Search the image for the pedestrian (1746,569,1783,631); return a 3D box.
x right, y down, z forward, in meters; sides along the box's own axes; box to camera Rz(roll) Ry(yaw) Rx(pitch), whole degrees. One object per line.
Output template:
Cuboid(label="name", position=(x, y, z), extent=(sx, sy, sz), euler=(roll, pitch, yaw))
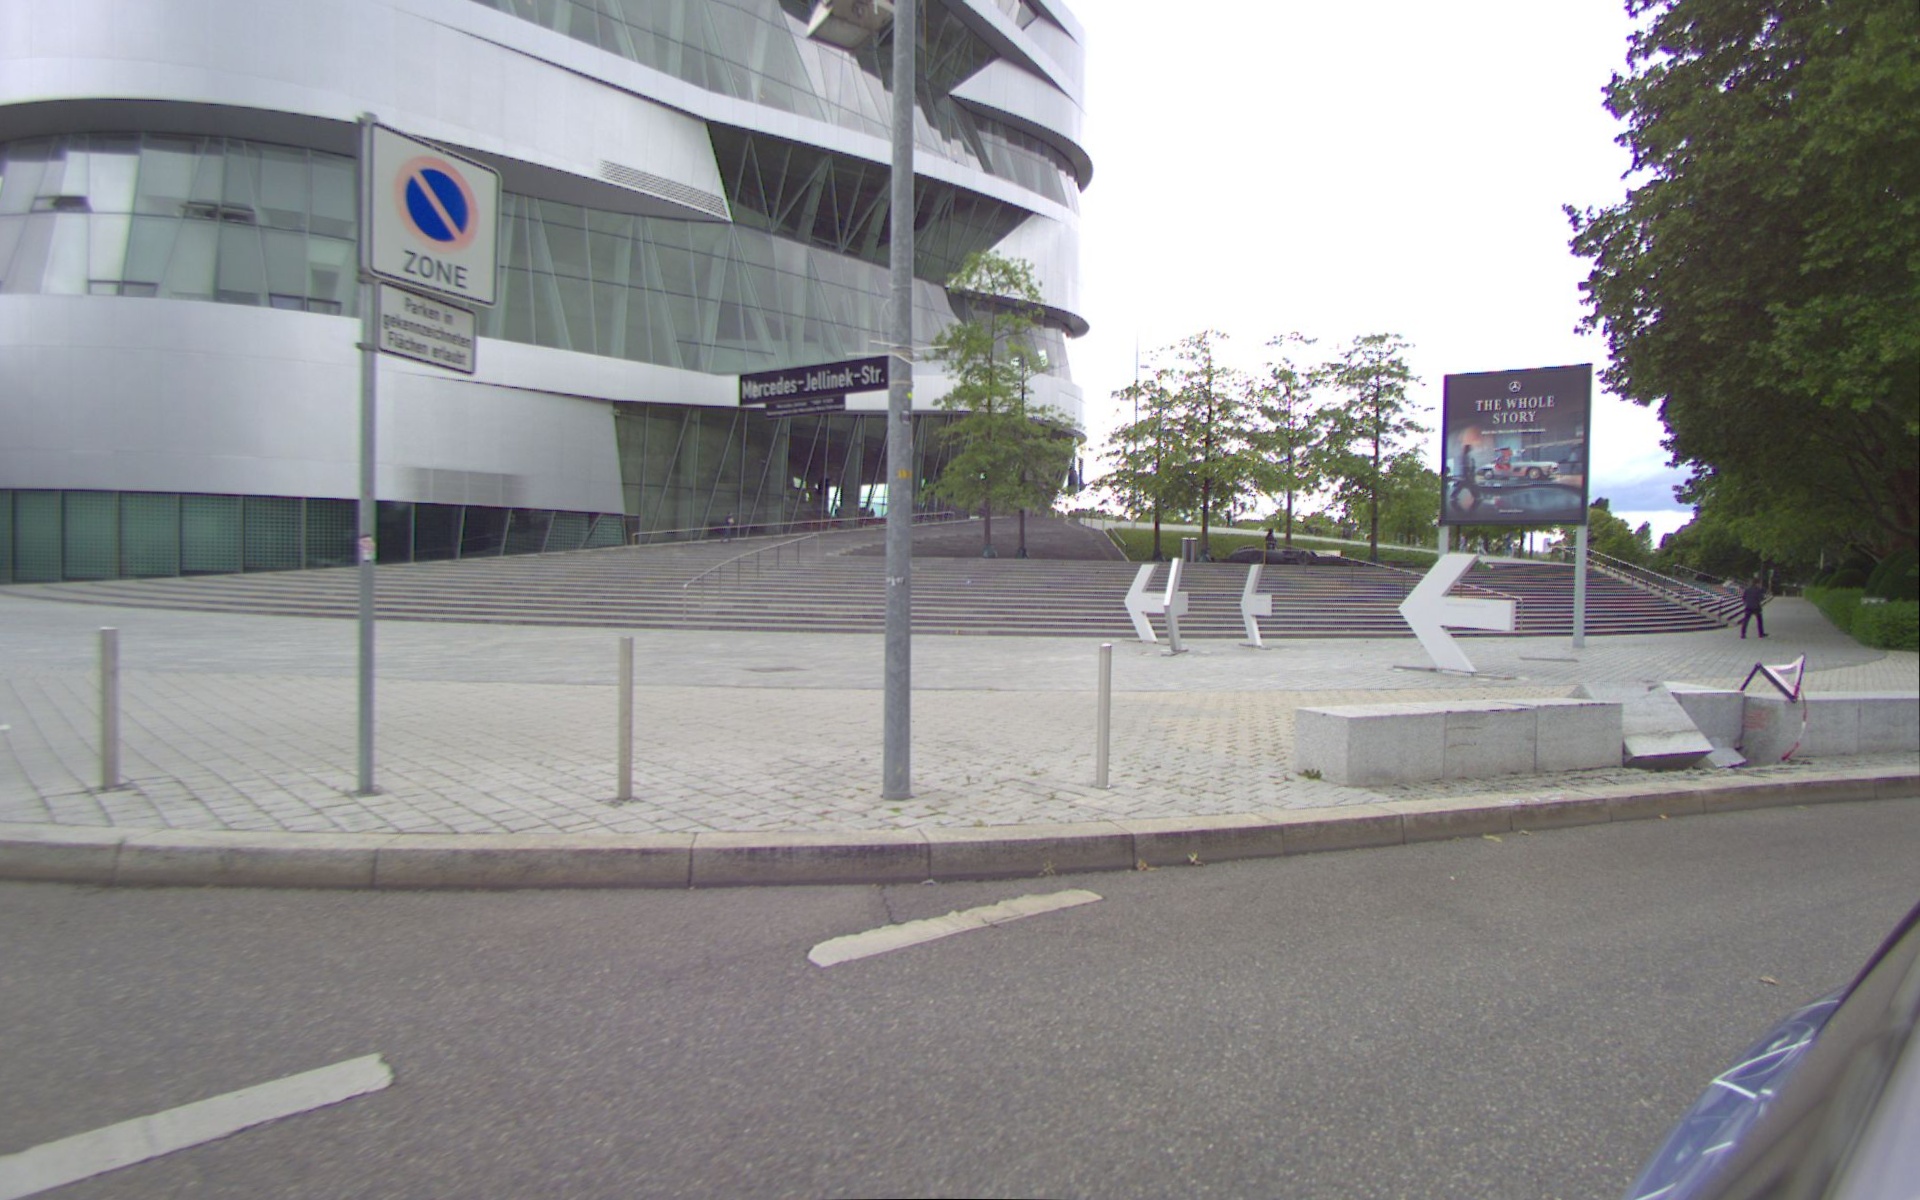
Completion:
Cuboid(label="pedestrian", position=(23.515, -0.007, 29.584), extent=(0.583, 1.784, 0.556), euler=(1, 0, -5))

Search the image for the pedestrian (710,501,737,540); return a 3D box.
Cuboid(label="pedestrian", position=(-12.187, -4.103, 52.185), extent=(0.850, 1.947, 0.938), euler=(1, 5, 44))

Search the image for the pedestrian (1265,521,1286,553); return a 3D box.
Cuboid(label="pedestrian", position=(14.250, -2.839, 45.708), extent=(0.778, 1.404, 0.681), euler=(1, 0, 10))
